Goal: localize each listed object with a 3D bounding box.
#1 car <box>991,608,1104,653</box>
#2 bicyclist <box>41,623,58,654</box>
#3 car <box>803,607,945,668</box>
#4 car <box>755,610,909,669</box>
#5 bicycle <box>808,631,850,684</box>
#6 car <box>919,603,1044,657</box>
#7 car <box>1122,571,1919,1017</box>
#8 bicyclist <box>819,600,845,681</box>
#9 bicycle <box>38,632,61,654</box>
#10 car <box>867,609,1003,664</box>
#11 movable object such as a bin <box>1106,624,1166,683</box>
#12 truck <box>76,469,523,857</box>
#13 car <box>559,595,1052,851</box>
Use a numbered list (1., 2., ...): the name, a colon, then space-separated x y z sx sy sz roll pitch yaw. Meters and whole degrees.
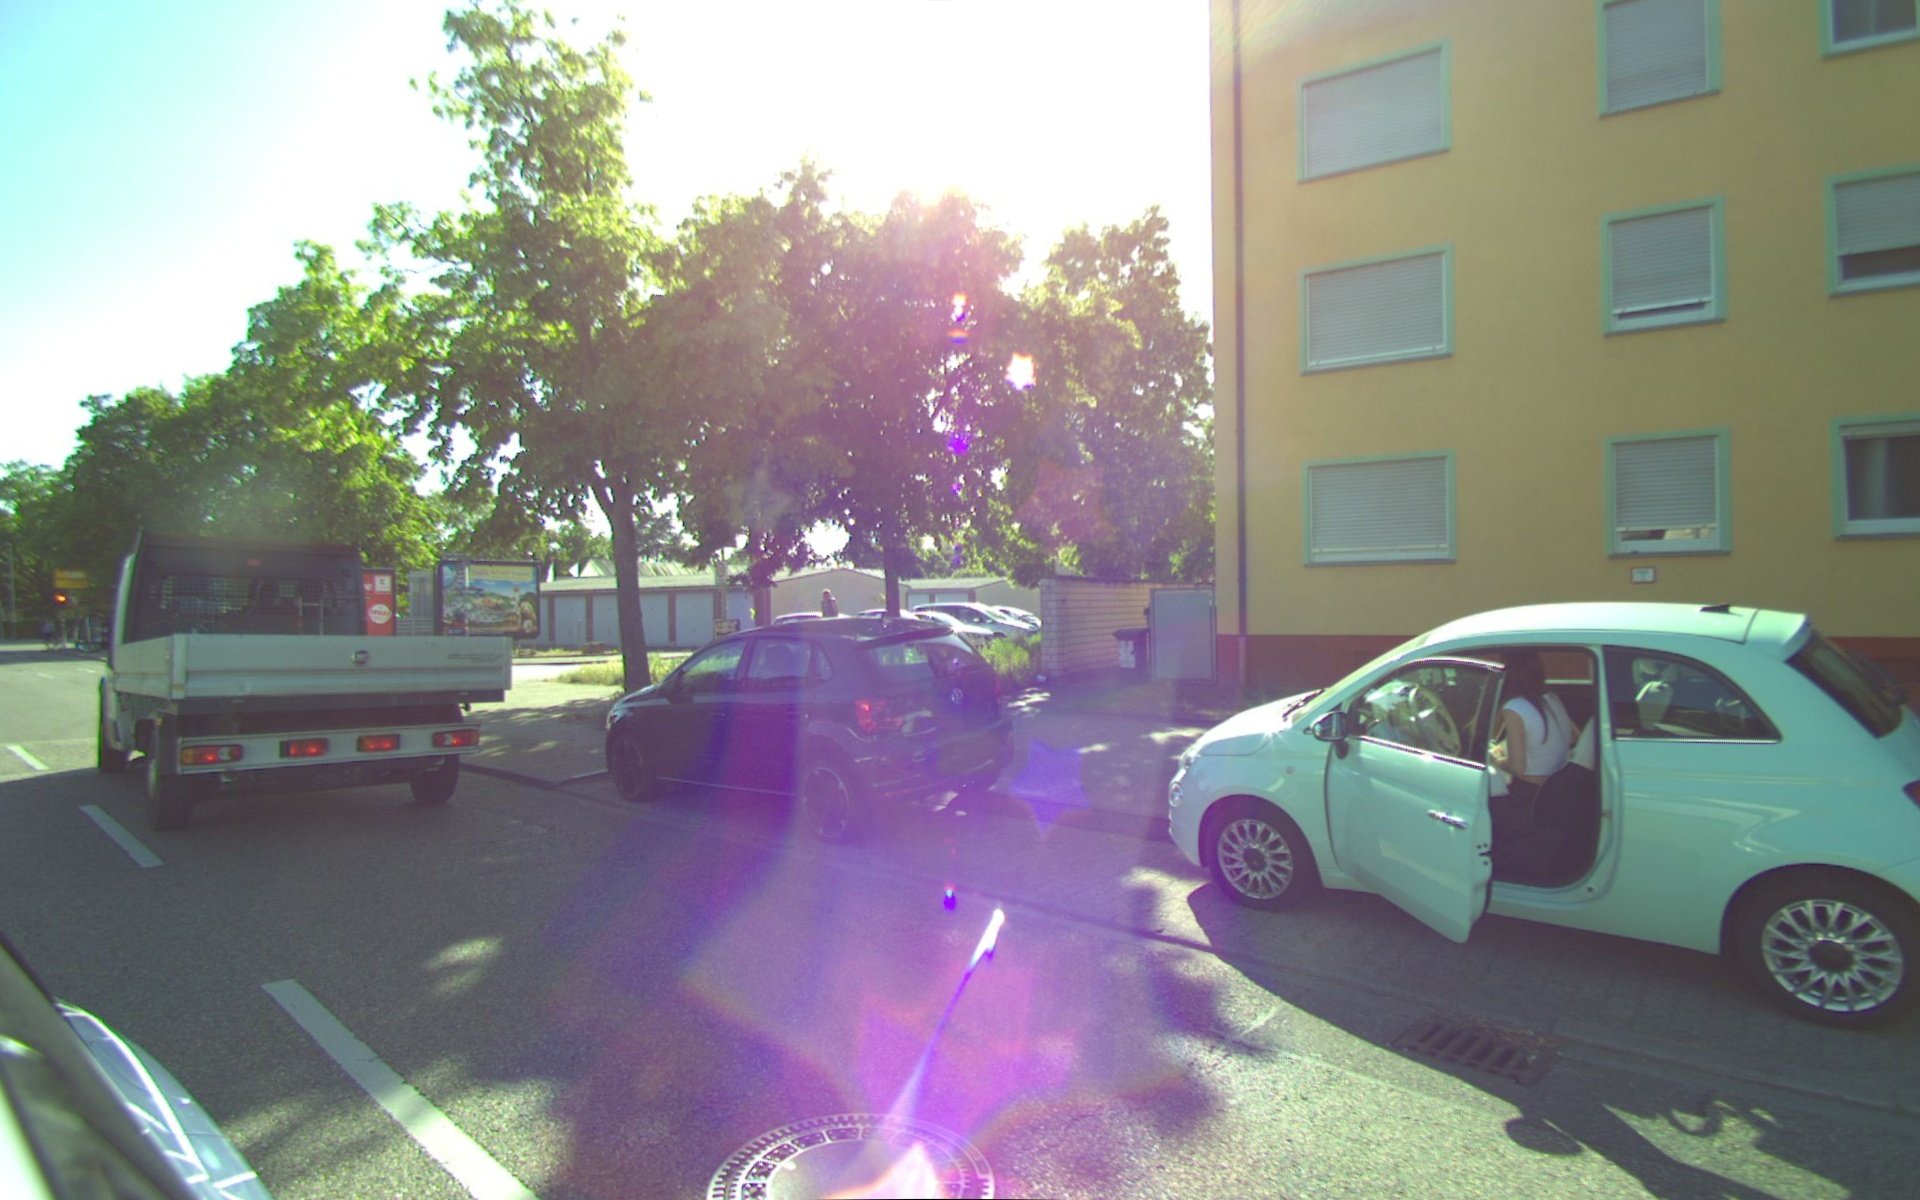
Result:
1. car: 3.214 1.124 37.240 3.866 1.517 1.491 -2 -1 30
2. bicyclist: -50.536 2.134 56.155 0.828 1.654 0.536 -2 -1 35
3. car: -2.556 1.112 30.058 3.860 1.634 1.688 -3 -1 26
4. car: -3.469 1.065 27.345 3.864 1.475 1.717 -2 -1 29
5. bicycle: -2.753 1.194 21.376 0.402 1.018 1.617 -1 0 10
6. car: 0.711 1.028 34.165 3.866 1.692 1.686 -2 -1 30
7. car: 2.967 0.669 4.965 4.053 1.534 1.682 0 0 43
8. bicyclist: -2.712 0.848 21.431 0.378 1.698 0.388 -3 0 10
9. bicycle: -50.481 2.385 56.113 2.022 1.150 0.522 -2 -1 36
10. car: -0.778 1.144 31.644 3.860 1.475 1.688 -4 -2 26
11. movable object such as a bin: 2.886 0.867 16.569 0.744 0.917 0.691 -2 -1 34
12. truck: -6.322 0.431 9.172 6.445 2.352 2.105 -1 -1 45
13. car: -1.405 0.753 8.197 4.049 1.491 1.683 1 3 40
